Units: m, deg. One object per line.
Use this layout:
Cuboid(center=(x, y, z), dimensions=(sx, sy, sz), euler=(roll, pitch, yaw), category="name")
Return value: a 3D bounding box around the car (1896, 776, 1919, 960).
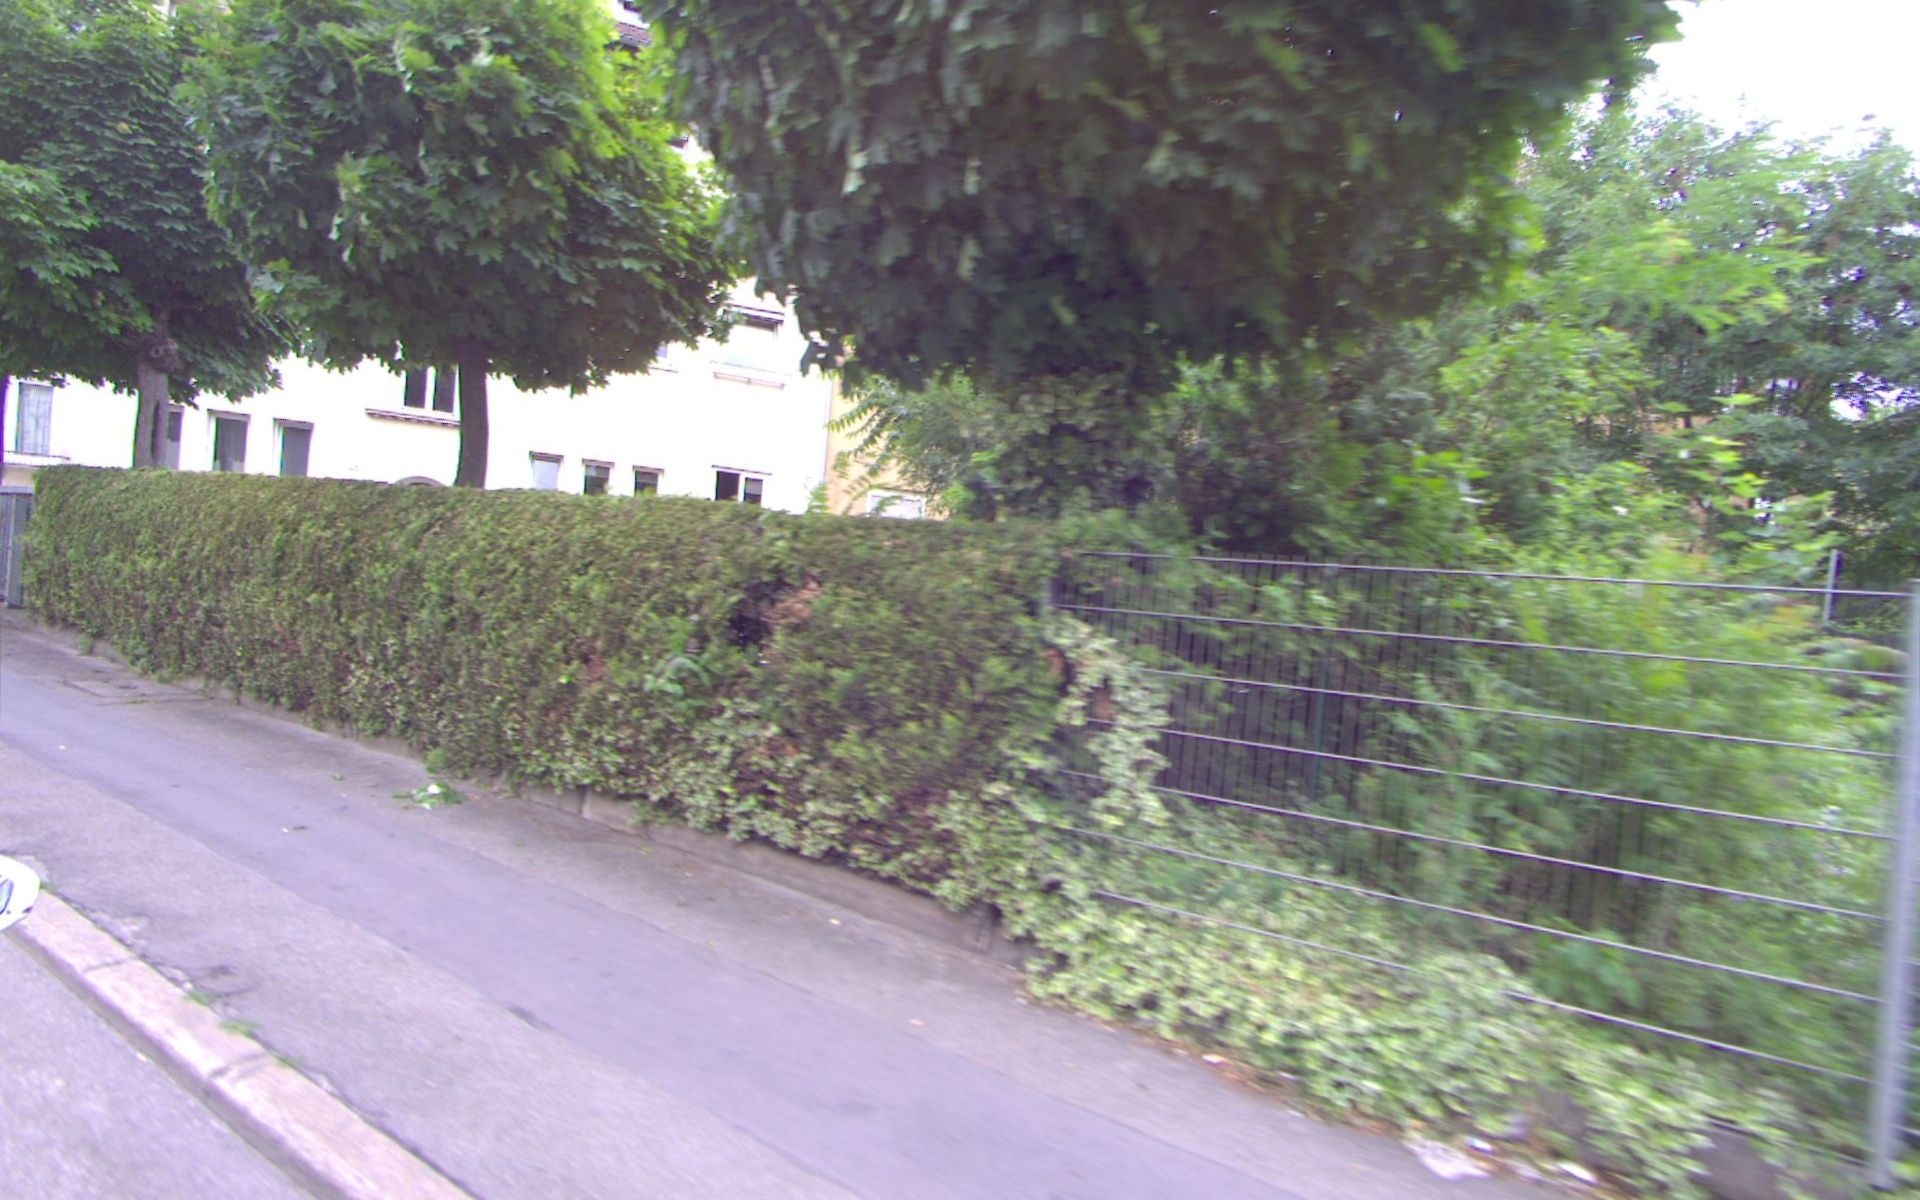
Cuboid(center=(6.131, 1.181, 3.177), dimensions=(4.191, 1.441, 1.800), euler=(7, 2, 29), category="car")
